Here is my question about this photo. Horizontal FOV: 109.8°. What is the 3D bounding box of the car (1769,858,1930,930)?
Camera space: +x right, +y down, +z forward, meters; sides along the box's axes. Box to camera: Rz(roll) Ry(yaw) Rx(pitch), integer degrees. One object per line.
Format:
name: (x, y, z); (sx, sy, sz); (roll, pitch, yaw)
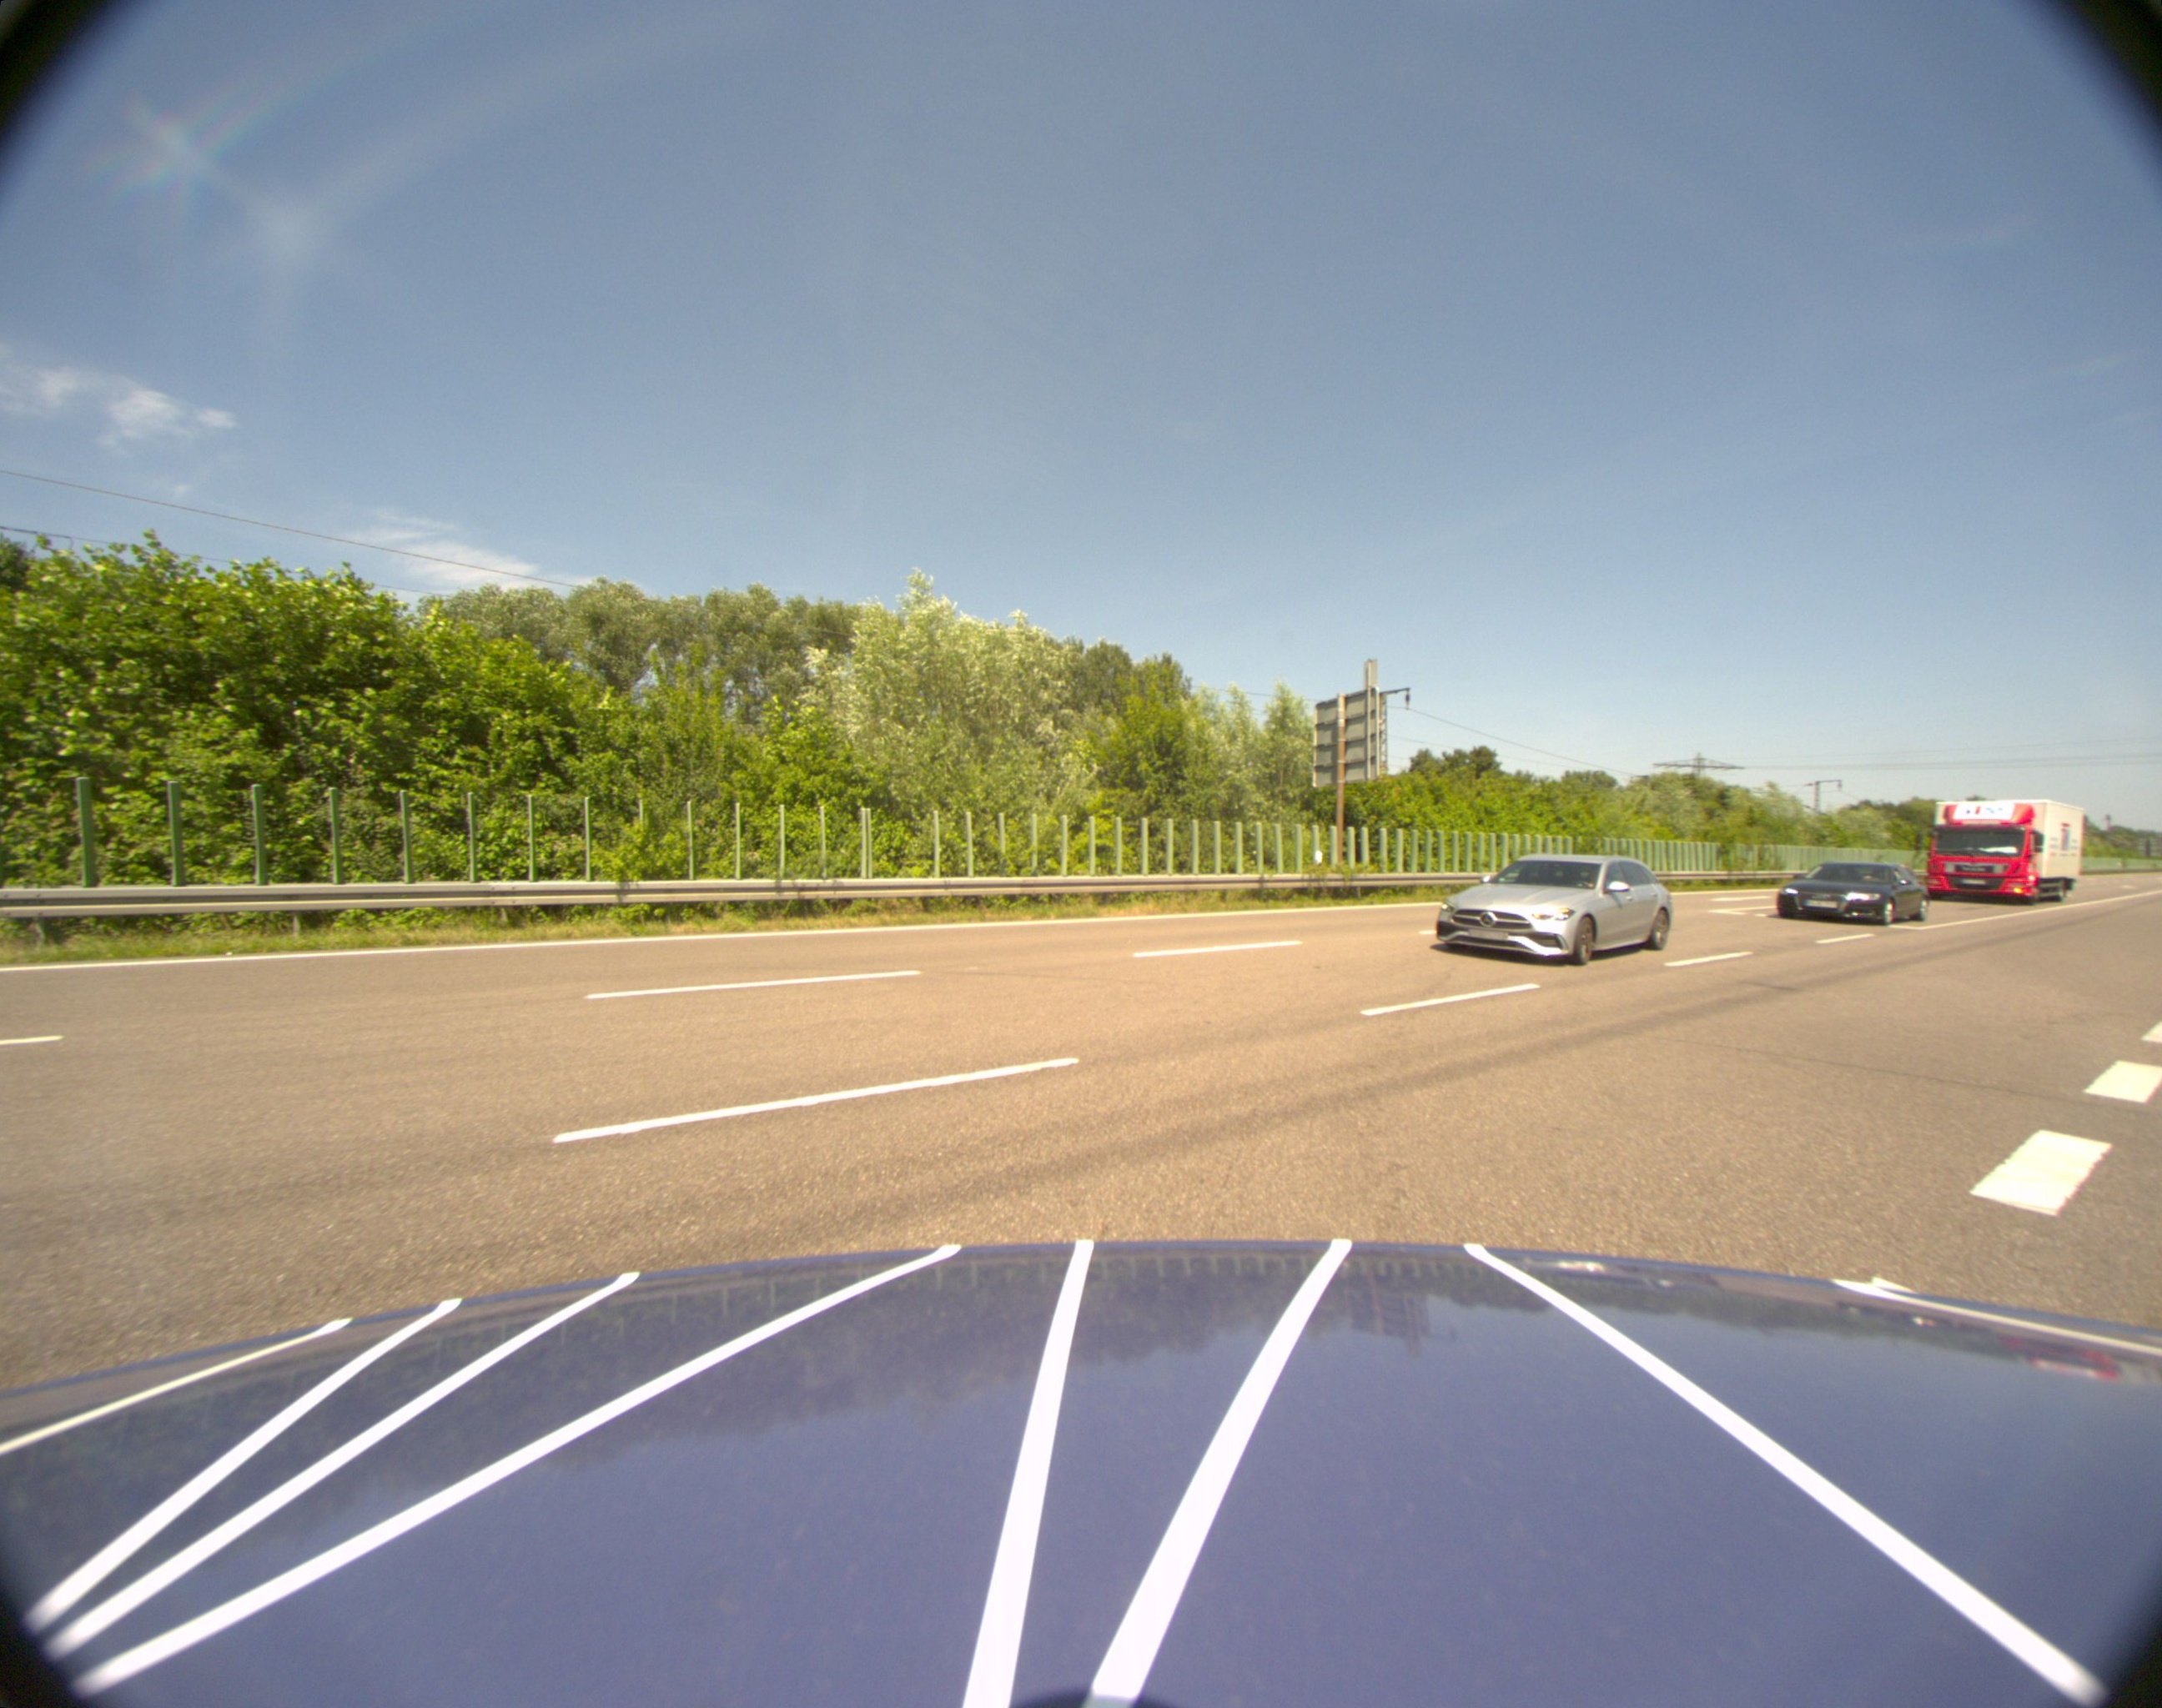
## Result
car: (18.284, 0.870, 18.037); (4.156, 1.432, 1.820); (0, 3, -33)

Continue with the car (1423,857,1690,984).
car: (7.075, 0.819, 11.188); (4.156, 1.478, 1.820); (0, 2, -35)

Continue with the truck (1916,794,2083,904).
truck: (34.348, -0.292, 28.290); (9.570, 3.559, 2.718); (-2, 1, -32)
